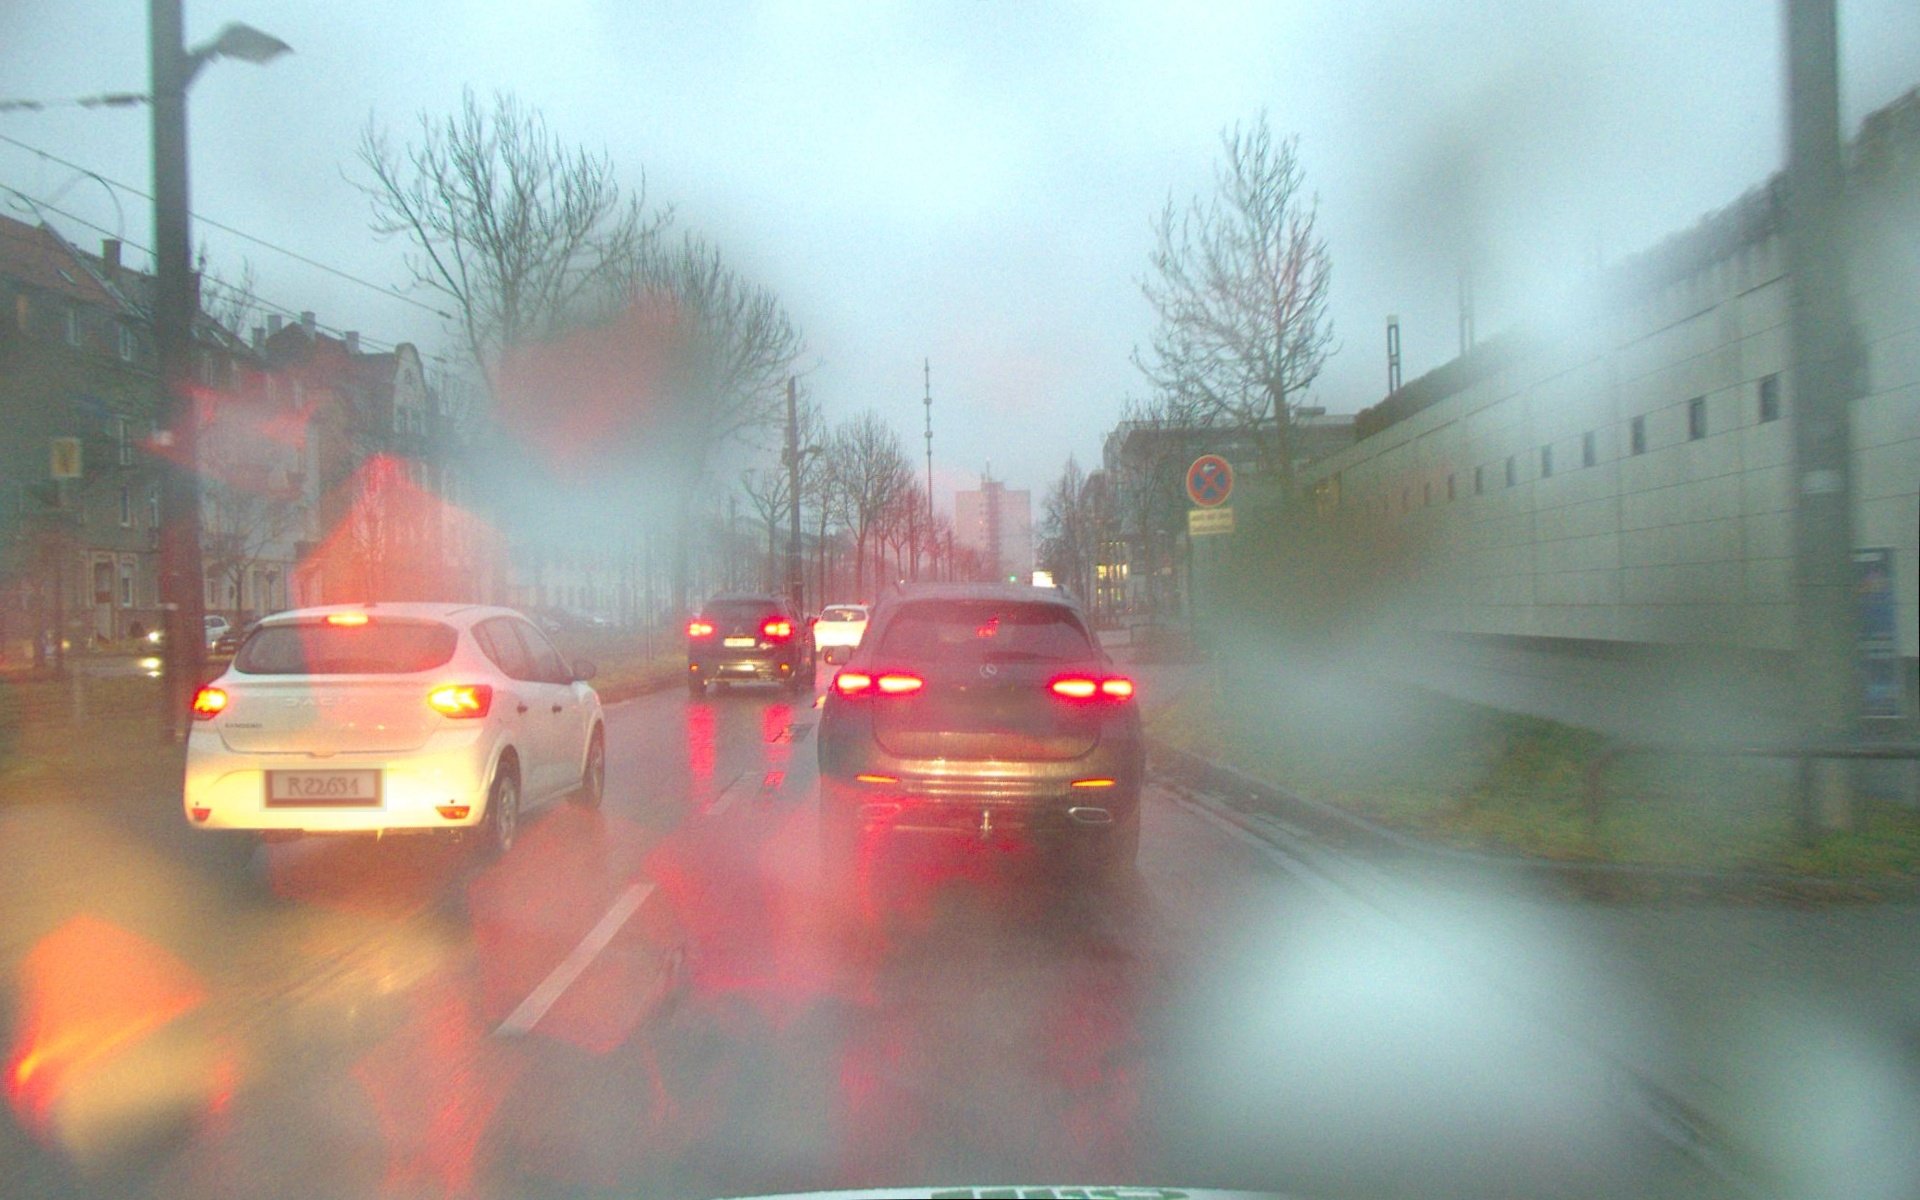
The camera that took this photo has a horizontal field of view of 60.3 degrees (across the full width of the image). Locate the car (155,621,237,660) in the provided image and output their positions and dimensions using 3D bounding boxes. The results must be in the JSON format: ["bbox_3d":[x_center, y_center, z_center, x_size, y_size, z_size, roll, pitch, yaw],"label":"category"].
[{"bbox_3d":[-32.413,1.710,70.281,1.739,1.526,3.557,-2,0,2],"label":"car"}]

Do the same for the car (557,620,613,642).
[{"bbox_3d":[-24.729,2.036,109.074,3.485,1.378,1.775,-2,0,36],"label":"car"}]

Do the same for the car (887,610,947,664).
[{"bbox_3d":[-1.644,1.447,64.812,1.952,2.049,4.001,1,-1,4],"label":"car"}]

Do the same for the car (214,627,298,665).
[{"bbox_3d":[-28.392,1.824,66.818,1.739,1.378,3.557,-2,0,2],"label":"car"}]

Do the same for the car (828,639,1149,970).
[{"bbox_3d":[0.245,1.096,10.491,1.637,1.628,4.055,0,-1,3],"label":"car"}]

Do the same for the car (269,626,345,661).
[{"bbox_3d":[-28.119,1.871,71.321,1.739,1.378,3.557,-2,0,2],"label":"car"}]

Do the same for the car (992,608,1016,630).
[{"bbox_3d":[3.743,1.633,141.271,1.952,1.759,4.001,-2,-1,2],"label":"car"}]

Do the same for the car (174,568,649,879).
[{"bbox_3d":[-3.269,0.673,10.727,1.637,1.628,4.054,0,-1,1],"label":"car"}]

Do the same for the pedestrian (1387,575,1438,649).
[{"bbox_3d":[10.323,0.268,37.751,0.918,1.646,0.694,-2,0,-1],"label":"pedestrian"}]

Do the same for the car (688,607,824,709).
[{"bbox_3d":[-3.428,0.945,28.423,1.637,1.628,4.055,0,-1,3],"label":"car"}]

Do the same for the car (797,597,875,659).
[{"bbox_3d":[-3.388,0.749,45.711,1.637,1.628,4.055,0,-1,3],"label":"car"}]

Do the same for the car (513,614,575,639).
[{"bbox_3d":[-24.961,1.566,99.120,3.485,1.378,1.775,-2,0,36],"label":"car"}]
